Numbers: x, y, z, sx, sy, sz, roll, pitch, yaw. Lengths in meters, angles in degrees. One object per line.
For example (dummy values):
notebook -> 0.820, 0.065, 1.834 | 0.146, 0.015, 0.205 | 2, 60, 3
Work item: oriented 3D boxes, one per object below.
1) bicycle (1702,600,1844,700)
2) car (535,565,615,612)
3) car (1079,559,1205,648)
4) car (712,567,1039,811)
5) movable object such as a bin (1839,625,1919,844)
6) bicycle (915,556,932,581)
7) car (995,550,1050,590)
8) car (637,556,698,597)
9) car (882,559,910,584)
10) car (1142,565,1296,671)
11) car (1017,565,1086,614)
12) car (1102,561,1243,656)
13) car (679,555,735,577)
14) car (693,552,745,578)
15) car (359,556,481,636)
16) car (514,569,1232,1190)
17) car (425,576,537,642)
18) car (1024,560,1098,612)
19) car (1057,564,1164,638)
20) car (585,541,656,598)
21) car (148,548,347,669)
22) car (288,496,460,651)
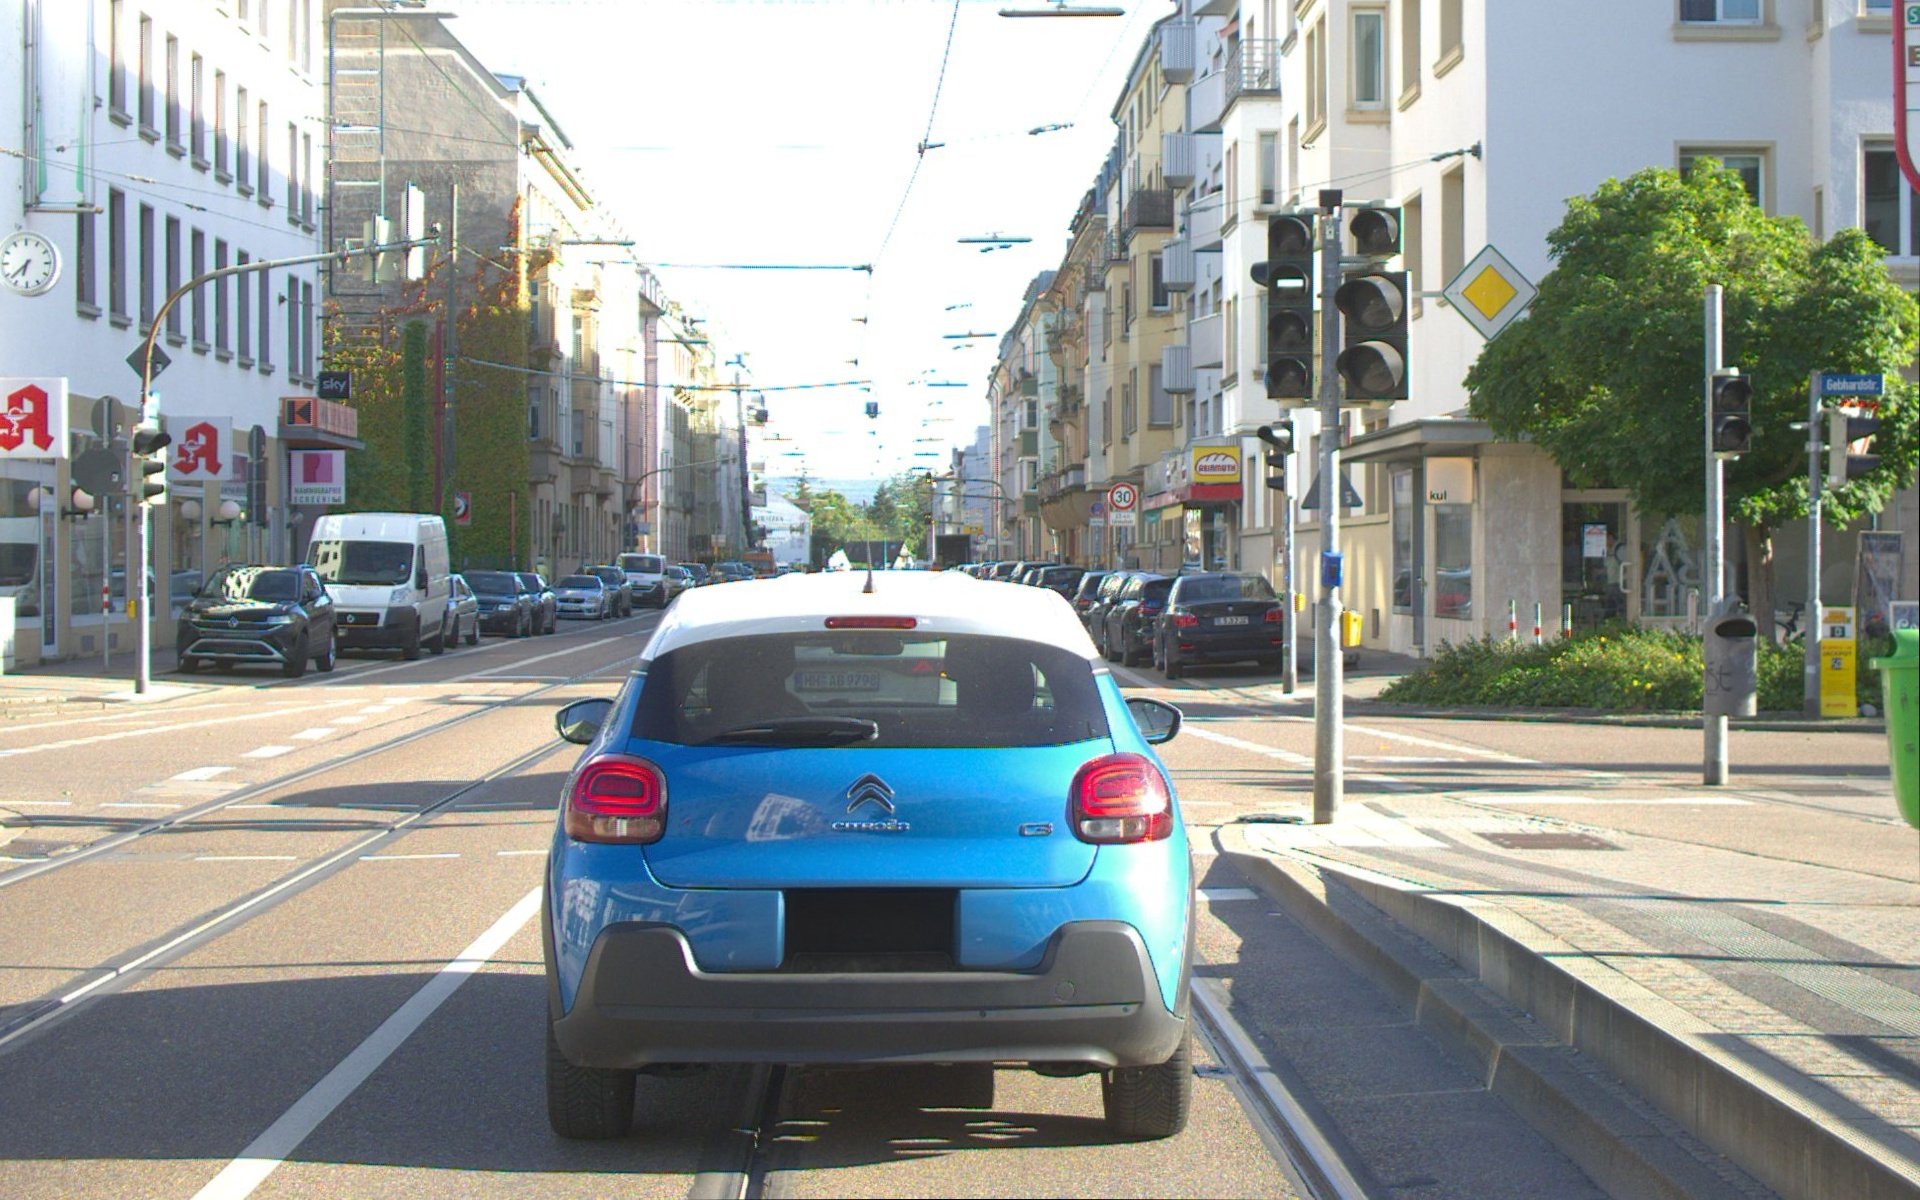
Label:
bicycle -> 9.399, 0.576, 39.753 | 1.568, 1.117, 0.300 | 1, 0, 11
car -> -11.225, -0.343, 100.392 | 1.993, 1.320, 3.923 | 1, 0, -2
car -> 3.139, 0.044, 59.985 | 1.993, 1.496, 4.000 | 0, 1, 0
car -> -0.553, 0.519, 23.402 | 1.984, 1.459, 4.816 | 1, 1, -1
movable object such as a bin -> 3.530, 0.490, 12.708 | 0.449, 0.783, 0.489 | 0, 0, 2
bicycle -> -2.029, -1.779, 191.342 | 0.920, 1.384, 3.132 | 0, 1, 0
car -> 2.357, -1.144, 130.341 | 1.993, 1.459, 4.000 | 0, 1, 0
car -> -11.426, -0.910, 134.527 | 1.955, 1.547, 3.938 | 1, 0, 2
car -> -4.599, -2.072, 246.985 | 1.993, 1.766, 4.000 | 0, 1, -1
car -> 3.689, 0.231, 49.553 | 1.909, 1.459, 4.000 | 0, 1, 0
car -> 2.757, -0.344, 104.401 | 1.993, 1.459, 4.000 | 0, 1, 0
car -> 3.344, 0.111, 54.798 | 1.993, 1.459, 4.000 | 0, 1, 0
car -> -13.372, -1.790, 181.944 | 1.994, 1.152, 4.513 | 0, 1, 9
car -> -10.595, -1.535, 151.318 | 1.993, 1.152, 4.000 | 0, 1, 0
car -> -10.422, -0.084, 66.586 | 1.888, 1.491, 3.562 | 1, 0, -2
car -> -0.242, 0.665, 10.294 | 1.728, 1.477, 3.827 | 1, 1, -1
car -> -10.469, 0.183, 75.397 | 1.993, 1.393, 4.157 | 1, 0, -2
car -> 2.880, -0.430, 99.204 | 1.993, 1.459, 4.504 | 0, 1, 0
car -> 3.033, -0.009, 70.036 | 1.993, 1.459, 4.000 | 0, 1, 0
car -> -12.228, -1.086, 124.073 | 2.006, 2.007, 4.689 | 1, 0, 1
car -> -10.199, 0.111, 49.530 | 1.993, 1.563, 4.403 | 3, 0, -2
car -> -10.124, -0.468, 59.887 | 2.085, 2.533, 6.206 | 1, 1, -2
